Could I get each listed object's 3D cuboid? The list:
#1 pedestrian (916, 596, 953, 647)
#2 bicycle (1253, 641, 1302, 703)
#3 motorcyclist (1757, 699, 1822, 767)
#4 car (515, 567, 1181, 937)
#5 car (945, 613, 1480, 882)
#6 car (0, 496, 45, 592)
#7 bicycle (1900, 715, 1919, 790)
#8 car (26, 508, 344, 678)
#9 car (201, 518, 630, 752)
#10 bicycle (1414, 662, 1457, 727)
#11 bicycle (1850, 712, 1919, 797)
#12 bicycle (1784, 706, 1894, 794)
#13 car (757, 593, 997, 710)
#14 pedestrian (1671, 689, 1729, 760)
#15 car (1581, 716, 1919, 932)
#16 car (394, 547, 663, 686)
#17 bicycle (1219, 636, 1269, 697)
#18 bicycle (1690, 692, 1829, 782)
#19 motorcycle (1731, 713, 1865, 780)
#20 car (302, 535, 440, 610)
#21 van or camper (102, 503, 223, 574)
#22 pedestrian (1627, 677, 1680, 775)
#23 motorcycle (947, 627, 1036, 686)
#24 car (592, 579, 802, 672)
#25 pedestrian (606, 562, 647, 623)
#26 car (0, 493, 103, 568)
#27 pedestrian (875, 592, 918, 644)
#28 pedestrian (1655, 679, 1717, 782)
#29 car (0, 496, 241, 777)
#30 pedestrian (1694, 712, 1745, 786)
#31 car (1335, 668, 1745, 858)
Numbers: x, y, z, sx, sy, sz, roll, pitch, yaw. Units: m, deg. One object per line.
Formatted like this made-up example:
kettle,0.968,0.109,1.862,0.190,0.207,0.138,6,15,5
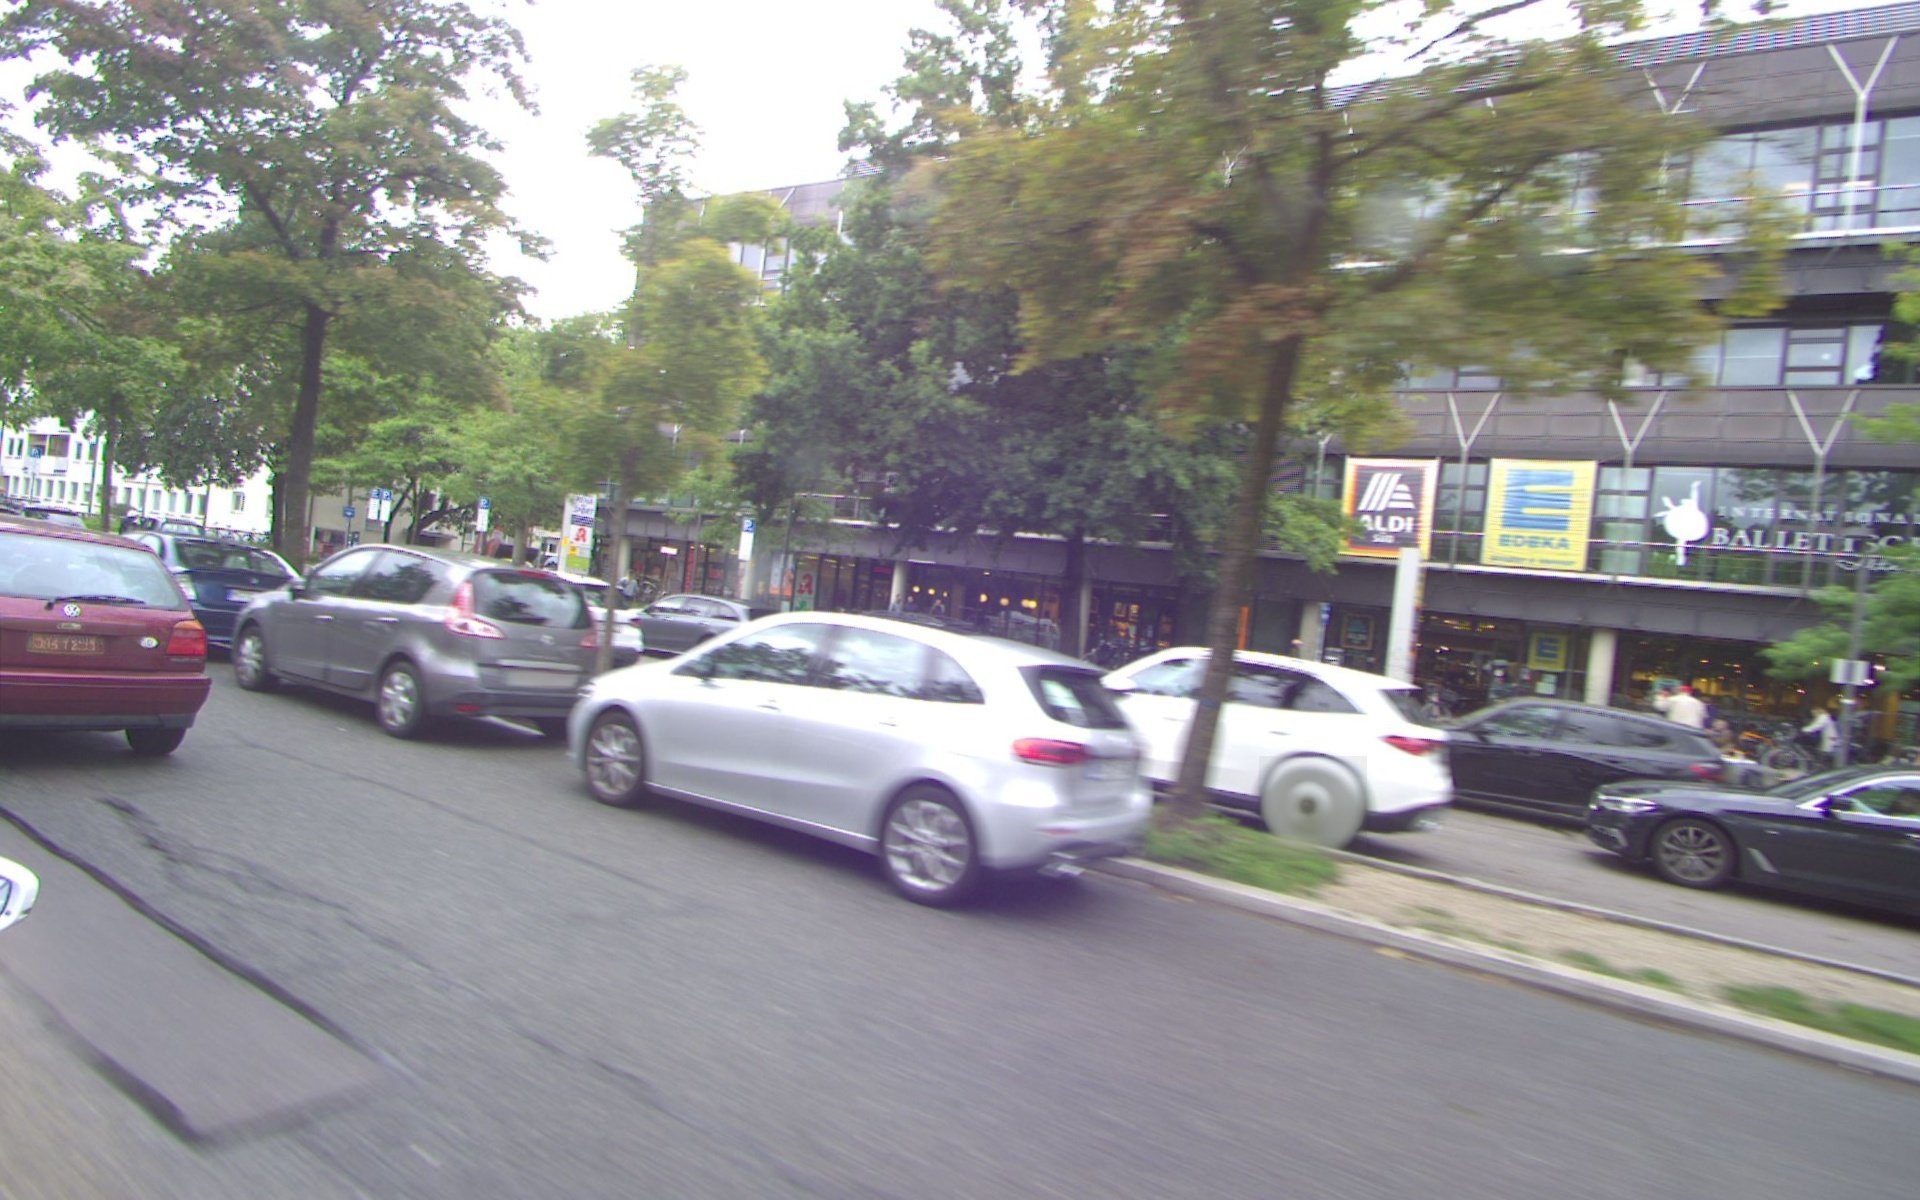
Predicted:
pedestrian,-0.941,0.787,37.035,0.785,1.724,0.965,7,-1,31
bicycle,8.695,1.957,27.468,0.784,1.526,2.617,7,-1,25
motorcyclist,20.547,3.282,24.940,0.968,1.495,0.943,7,0,31
car,-0.930,0.827,7.015,4.382,1.543,1.687,7,-2,32
car,2.359,1.254,9.926,4.700,1.652,1.687,7,-1,31
car,-18.299,-1.211,17.852,4.232,1.572,1.688,7,-1,29
bicycle,20.158,3.195,20.248,0.784,1.526,2.618,7,-1,22
car,-9.712,-0.118,12.524,4.235,1.572,1.686,7,-1,32
car,-5.416,0.272,9.845,4.235,1.645,1.687,7,-2,32
bicycle,12.345,2.428,26.160,0.784,1.526,2.617,7,-1,25
bicycle,19.403,3.166,20.615,0.784,1.526,2.618,7,-1,22
bicycle,18.336,3.080,21.073,0.784,1.526,2.618,7,-1,22
car,-1.652,0.963,19.568,4.308,1.652,1.687,7,-1,30
pedestrian,18.369,3.079,24.991,0.955,1.599,0.689,7,0,32
car,8.776,2.217,9.518,4.758,1.471,1.687,7,-1,31
car,-6.661,0.231,15.447,3.960,1.604,1.687,7,-1,31
bicycle,7.914,1.864,27.954,0.784,1.526,2.617,7,-1,25
bicycle,16.999,2.867,21.510,0.783,1.526,2.619,7,-1,2
motorcycle,20.639,3.583,24.859,2.328,1.211,0.947,7,0,32
car,-16.690,-0.794,28.445,3.962,1.604,1.686,7,-1,34
van or camper,-28.360,-2.198,35.736,4.235,1.999,1.947,7,-1,32
pedestrian,13.831,2.490,20.071,0.533,1.852,0.678,7,0,20
motorcycle,0.745,1.330,24.168,2.017,1.156,0.605,7,3,31
car,-5.782,0.554,22.020,4.306,1.453,1.688,7,-1,27
pedestrian,-10.112,-0.234,30.532,0.690,1.727,0.748,7,0,32
car,-24.352,-1.883,26.328,3.960,1.604,1.687,7,-1,31
pedestrian,-2.352,0.672,37.329,1.029,1.724,1.018,7,-1,31
pedestrian,13.998,2.500,19.410,0.668,1.852,0.559,7,0,20
car,-6.562,0.027,6.481,3.883,1.471,1.625,7,-1,31
pedestrian,14.957,2.916,19.820,0.541,1.330,0.559,7,0,20
car,7.644,2.068,13.687,4.422,1.652,1.687,7,-1,30
